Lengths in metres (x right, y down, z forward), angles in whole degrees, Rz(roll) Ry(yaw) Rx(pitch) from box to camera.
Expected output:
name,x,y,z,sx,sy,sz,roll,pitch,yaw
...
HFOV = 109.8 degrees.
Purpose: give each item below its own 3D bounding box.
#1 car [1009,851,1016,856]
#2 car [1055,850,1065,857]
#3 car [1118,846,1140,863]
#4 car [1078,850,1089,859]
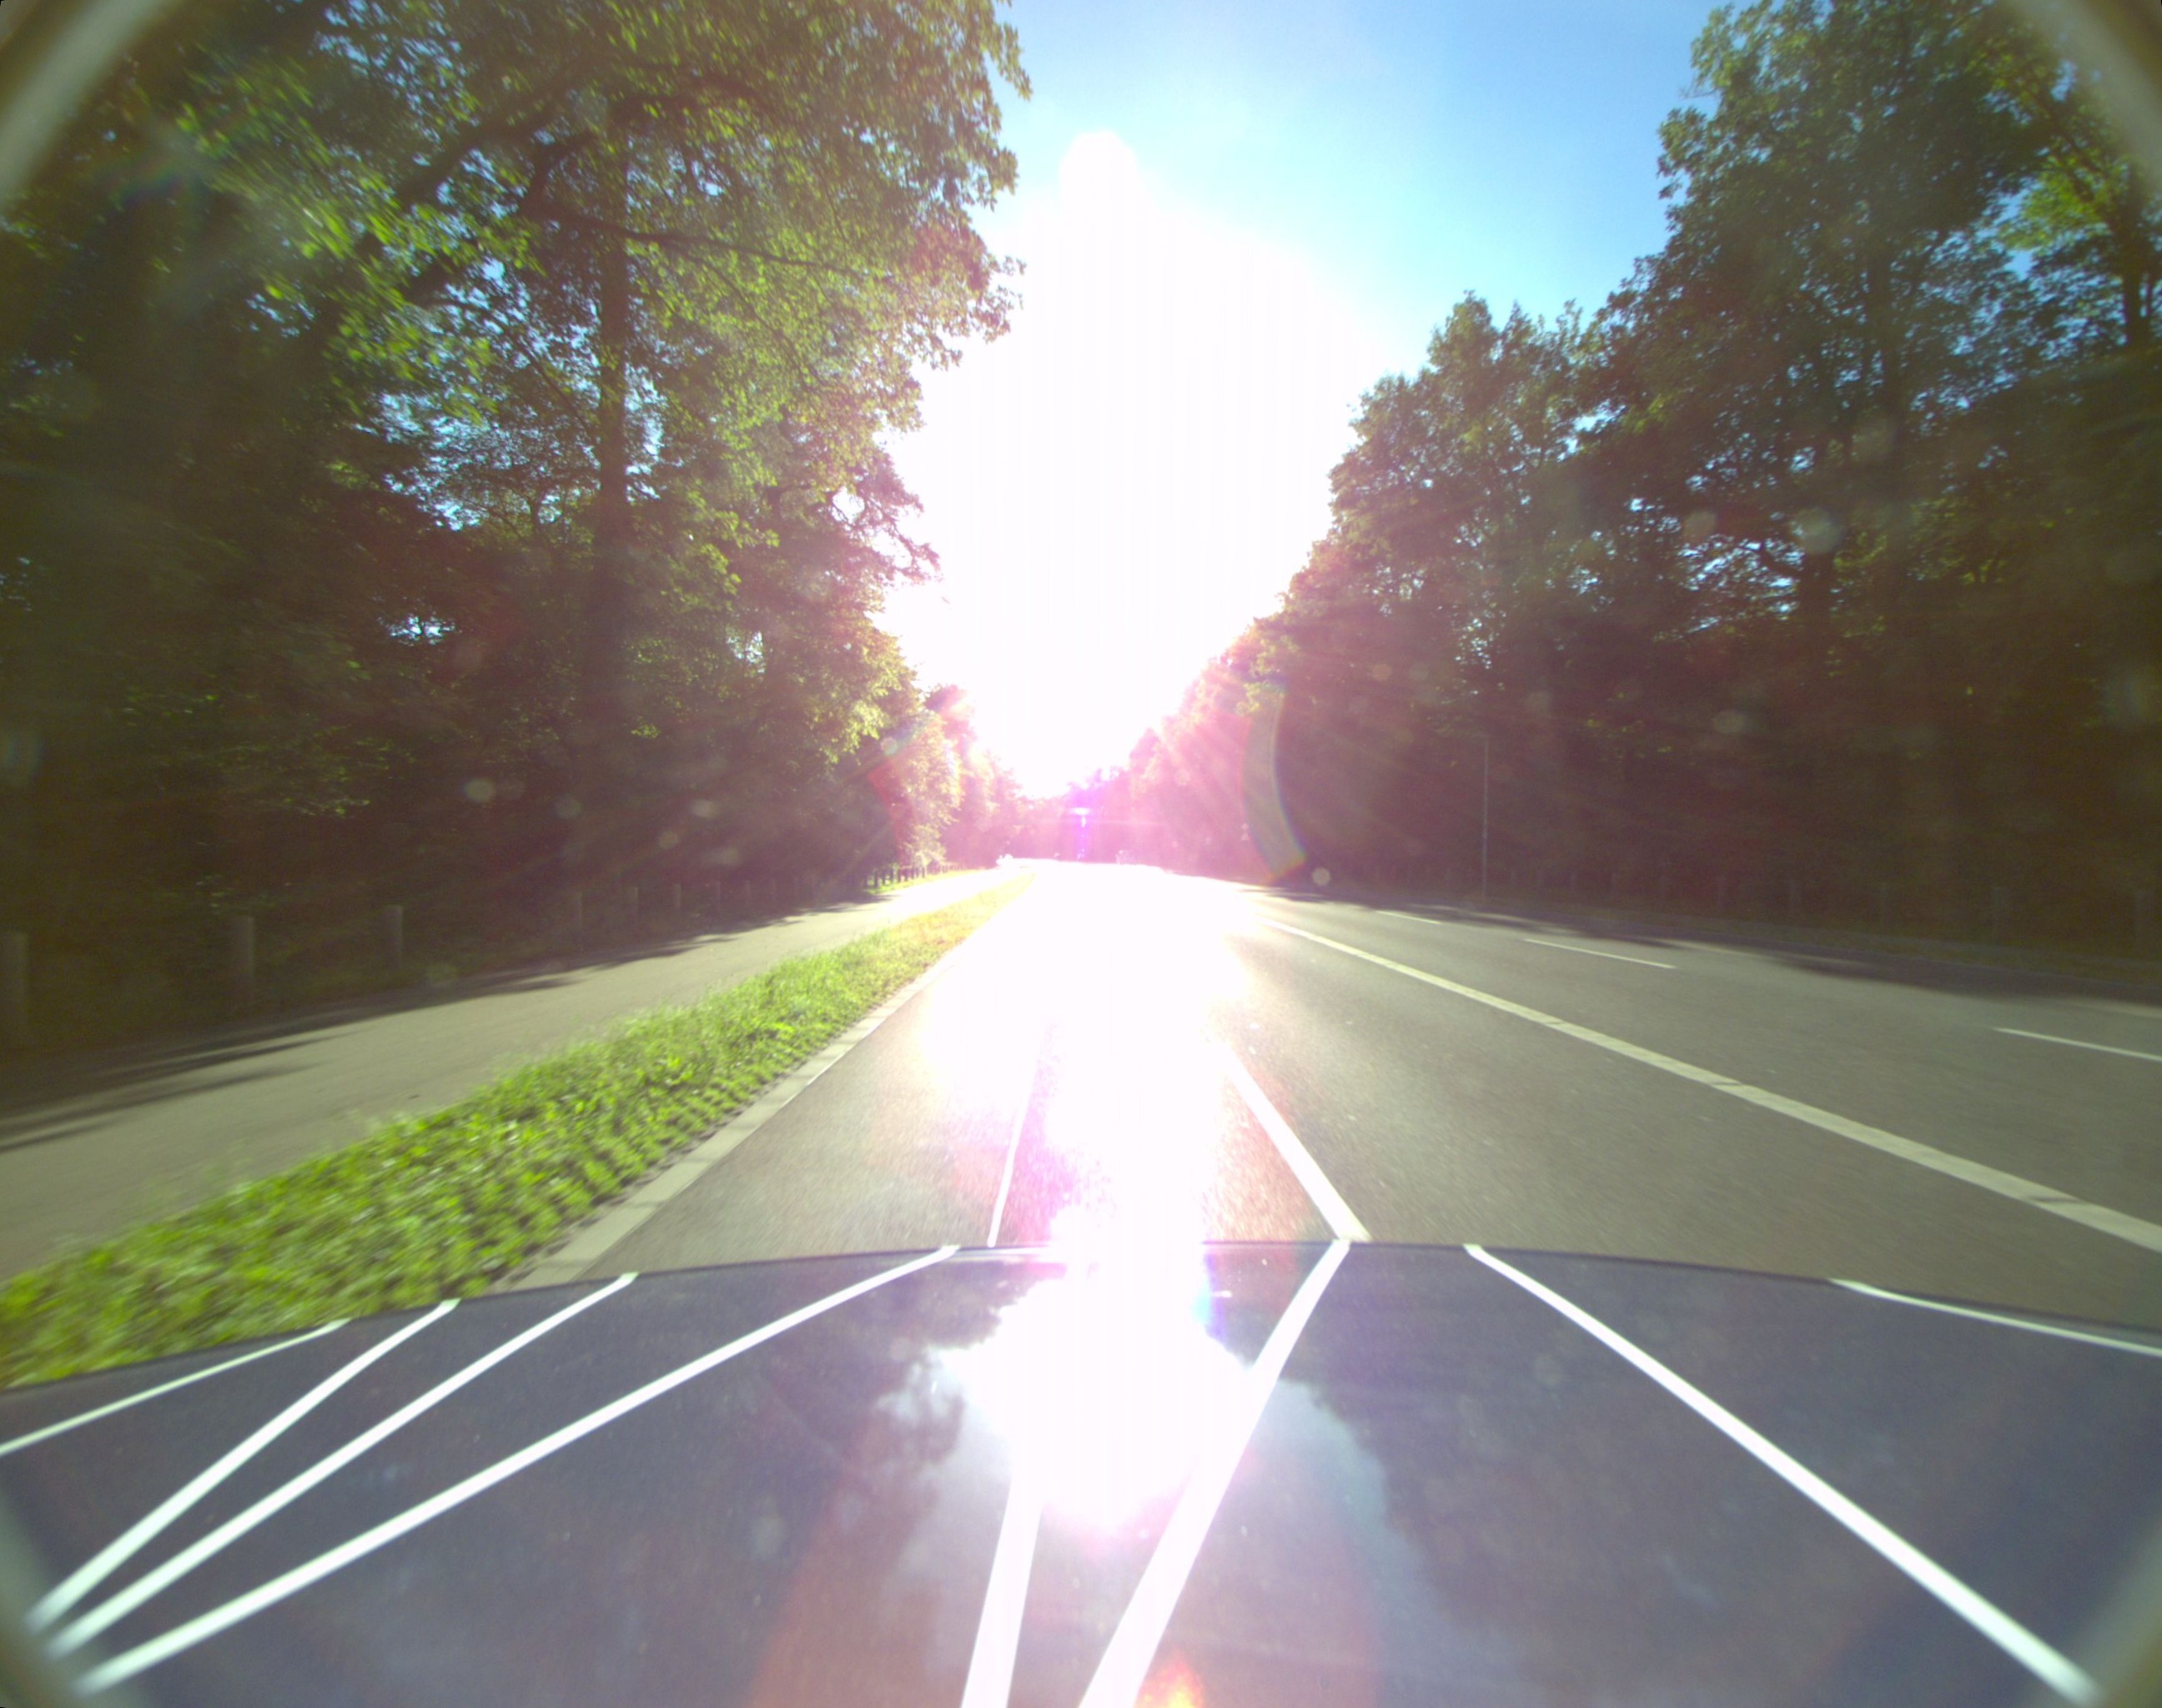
name,x,y,z,sx,sy,sz,roll,pitch,yaw
car,-21.926,-0.175,242.957,1.828,1.674,3.995,-1,0,-12
car,-5.102,-0.093,184.405,1.848,1.539,3.997,1,0,-8
car,5.535,0.033,88.119,2.007,1.815,4.997,-2,0,-3
car,0.442,0.085,140.157,1.517,1.457,4.311,-1,0,-7
